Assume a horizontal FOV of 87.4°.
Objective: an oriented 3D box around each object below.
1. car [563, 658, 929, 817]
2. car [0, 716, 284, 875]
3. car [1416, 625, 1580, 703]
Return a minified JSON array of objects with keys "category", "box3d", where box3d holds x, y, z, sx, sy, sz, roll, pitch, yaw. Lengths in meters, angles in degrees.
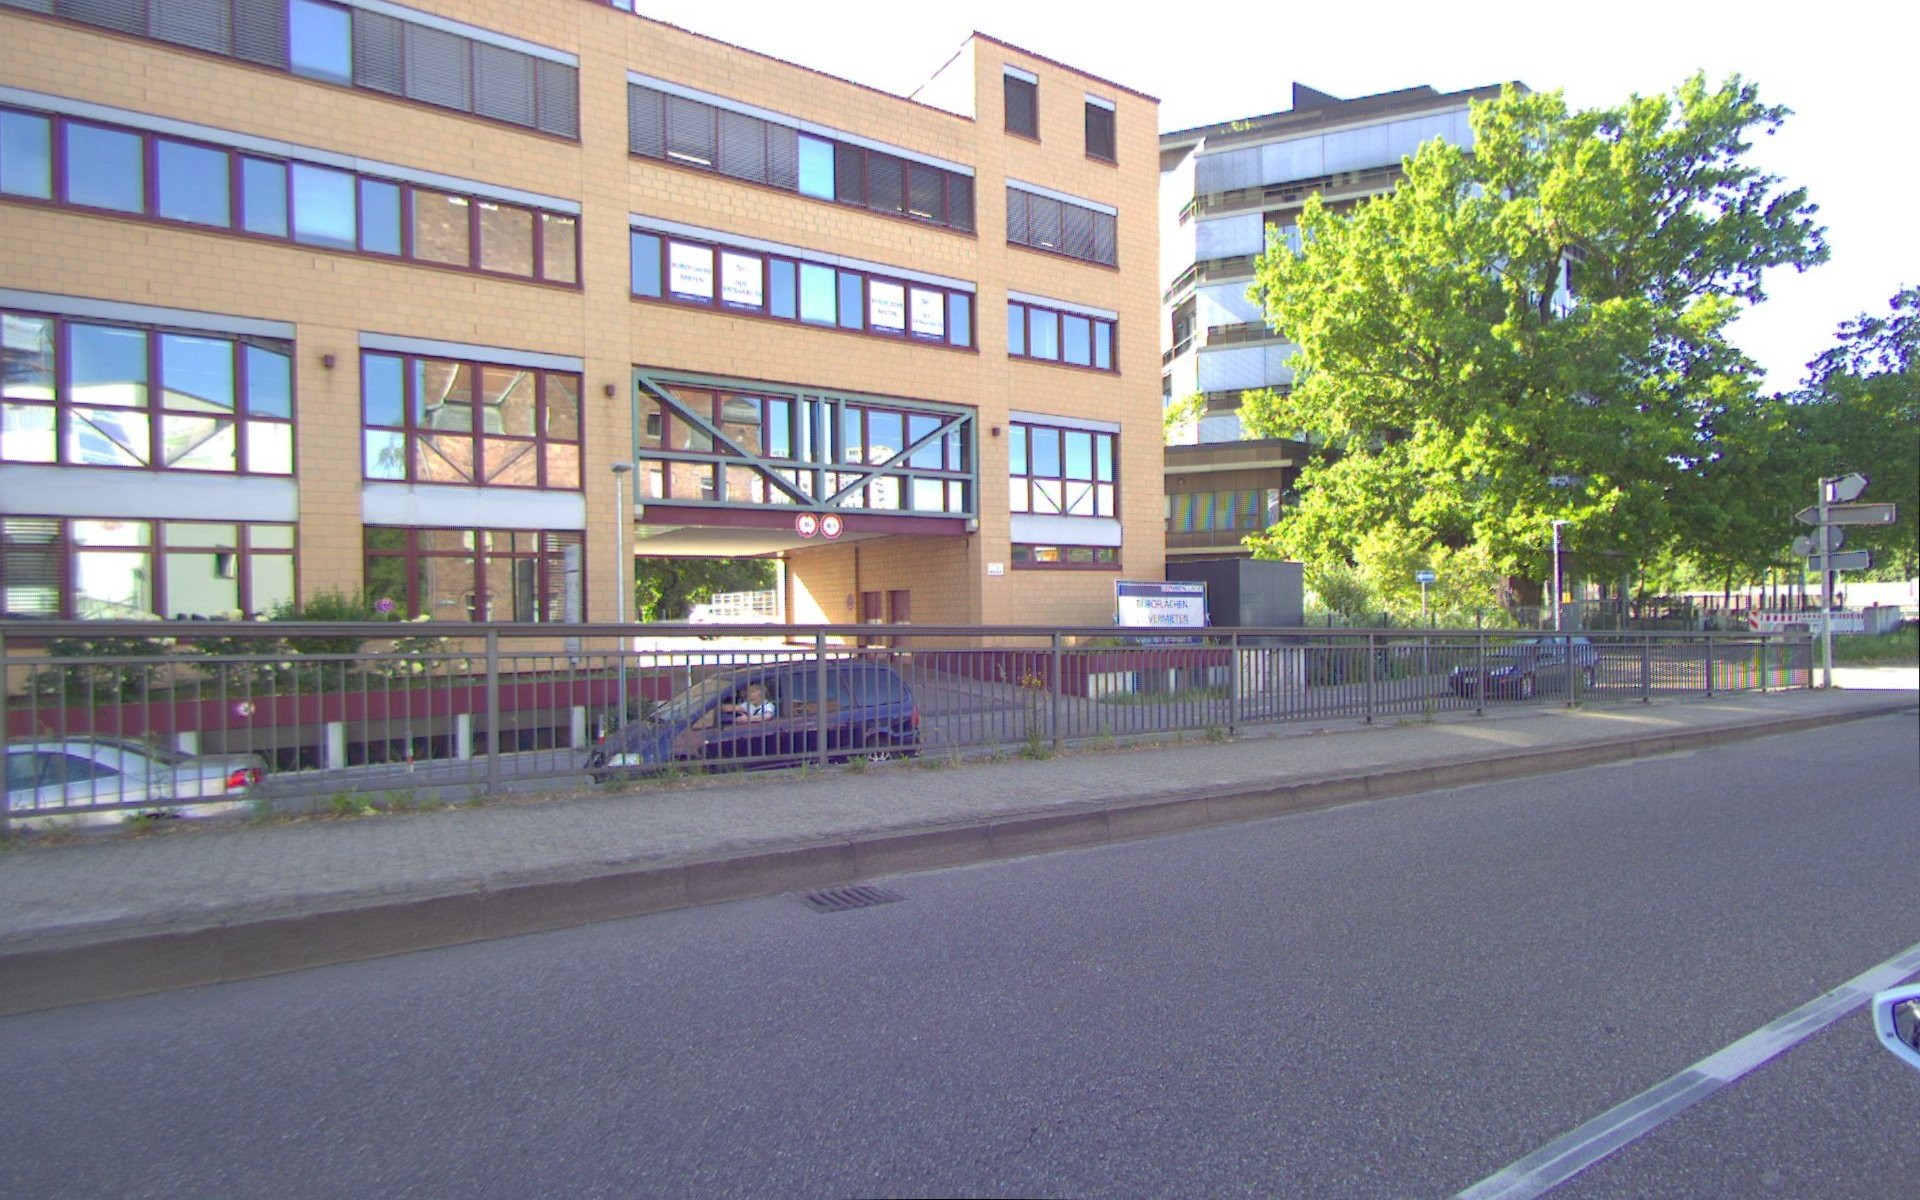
[{"category":"car","box3d":[-2.764,1.684,13.508,4.542,1.669,1.710,1,-2,-36]},{"category":"car","box3d":[-9.028,1.867,9.577,4.211,1.181,1.712,0,-2,-33]},{"category":"car","box3d":[13.335,1.517,24.868,3.954,1.715,1.842,0,0,-31]}]
